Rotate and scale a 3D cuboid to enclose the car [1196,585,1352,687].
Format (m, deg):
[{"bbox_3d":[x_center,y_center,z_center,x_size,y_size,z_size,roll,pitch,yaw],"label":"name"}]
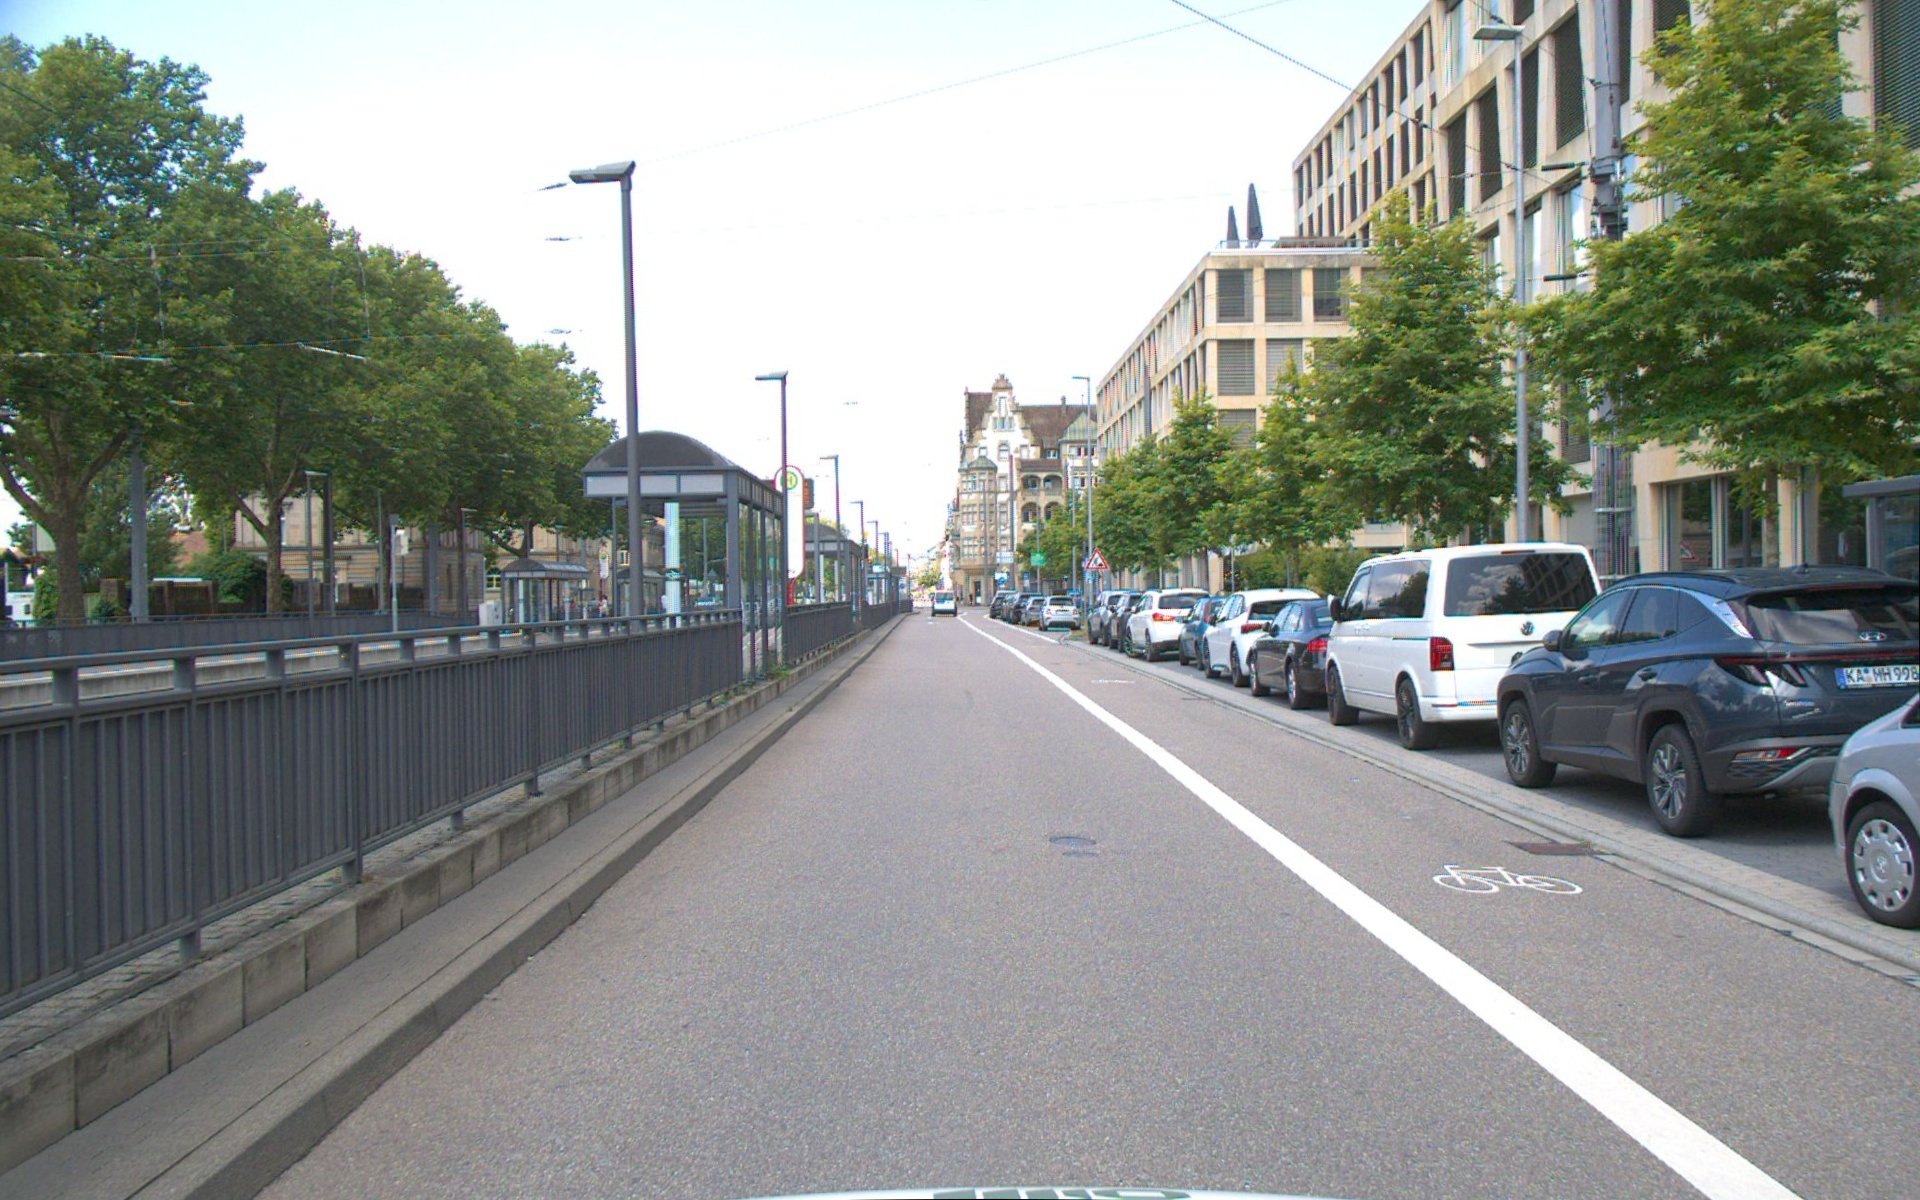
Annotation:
[{"bbox_3d":[5.320,0.565,28.514,1.756,1.556,4.158,-3,0,-1],"label":"car"}]

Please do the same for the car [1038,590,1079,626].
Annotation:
[{"bbox_3d":[4.230,0.331,71.339,1.558,1.486,3.613,0,0,0],"label":"car"}]

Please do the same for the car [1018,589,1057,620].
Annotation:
[{"bbox_3d":[3.828,0.197,82.435,1.559,1.459,4.105,1,0,-3],"label":"car"}]

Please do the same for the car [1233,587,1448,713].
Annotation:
[{"bbox_3d":[5.190,0.616,23.192,1.843,1.513,4.562,-2,0,-1],"label":"car"}]

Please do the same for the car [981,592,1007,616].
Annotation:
[{"bbox_3d":[2.248,0.241,109.231,1.414,1.496,4.090,1,0,-3],"label":"car"}]

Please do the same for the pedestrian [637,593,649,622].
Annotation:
[{"bbox_3d":[-17.326,0.402,90.481,0.490,1.585,0.643,-1,0,-1],"label":"pedestrian"}]

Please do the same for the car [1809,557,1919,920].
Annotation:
[{"bbox_3d":[5.212,0.616,6.502,1.686,1.648,3.859,-1,0,-1],"label":"car"}]

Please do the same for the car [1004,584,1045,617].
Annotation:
[{"bbox_3d":[3.406,-0.002,88.176,1.703,1.698,4.838,1,0,-3],"label":"car"}]

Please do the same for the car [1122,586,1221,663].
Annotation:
[{"bbox_3d":[4.884,0.529,38.739,1.651,1.634,4.151,-3,0,-1],"label":"car"}]

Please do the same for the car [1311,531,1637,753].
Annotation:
[{"bbox_3d":[5.280,0.379,17.763,1.844,1.973,4.842,-3,0,-1],"label":"car"}]

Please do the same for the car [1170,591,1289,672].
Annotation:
[{"bbox_3d":[5.388,0.589,33.495,1.651,1.483,3.949,-3,0,-1],"label":"car"}]

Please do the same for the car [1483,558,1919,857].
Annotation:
[{"bbox_3d":[5.354,0.594,11.796,1.686,1.669,4.526,-3,0,-1],"label":"car"}]

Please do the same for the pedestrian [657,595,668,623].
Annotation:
[{"bbox_3d":[-18.189,0.545,101.029,0.490,1.712,0.643,-3,1,-1],"label":"pedestrian"}]

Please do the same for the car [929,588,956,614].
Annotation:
[{"bbox_3d":[-1.229,0.074,117.092,1.831,1.777,3.999,0,0,-2],"label":"car"}]

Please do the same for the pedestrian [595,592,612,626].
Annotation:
[{"bbox_3d":[-16.636,0.410,77.149,0.689,1.539,0.801,-2,0,-12],"label":"pedestrian"}]

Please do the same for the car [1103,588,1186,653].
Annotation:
[{"bbox_3d":[4.876,0.517,44.222,1.651,1.575,3.925,-3,0,-1],"label":"car"}]

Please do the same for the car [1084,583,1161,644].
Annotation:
[{"bbox_3d":[4.825,0.385,49.619,1.652,1.662,3.988,-3,0,-3],"label":"car"}]
